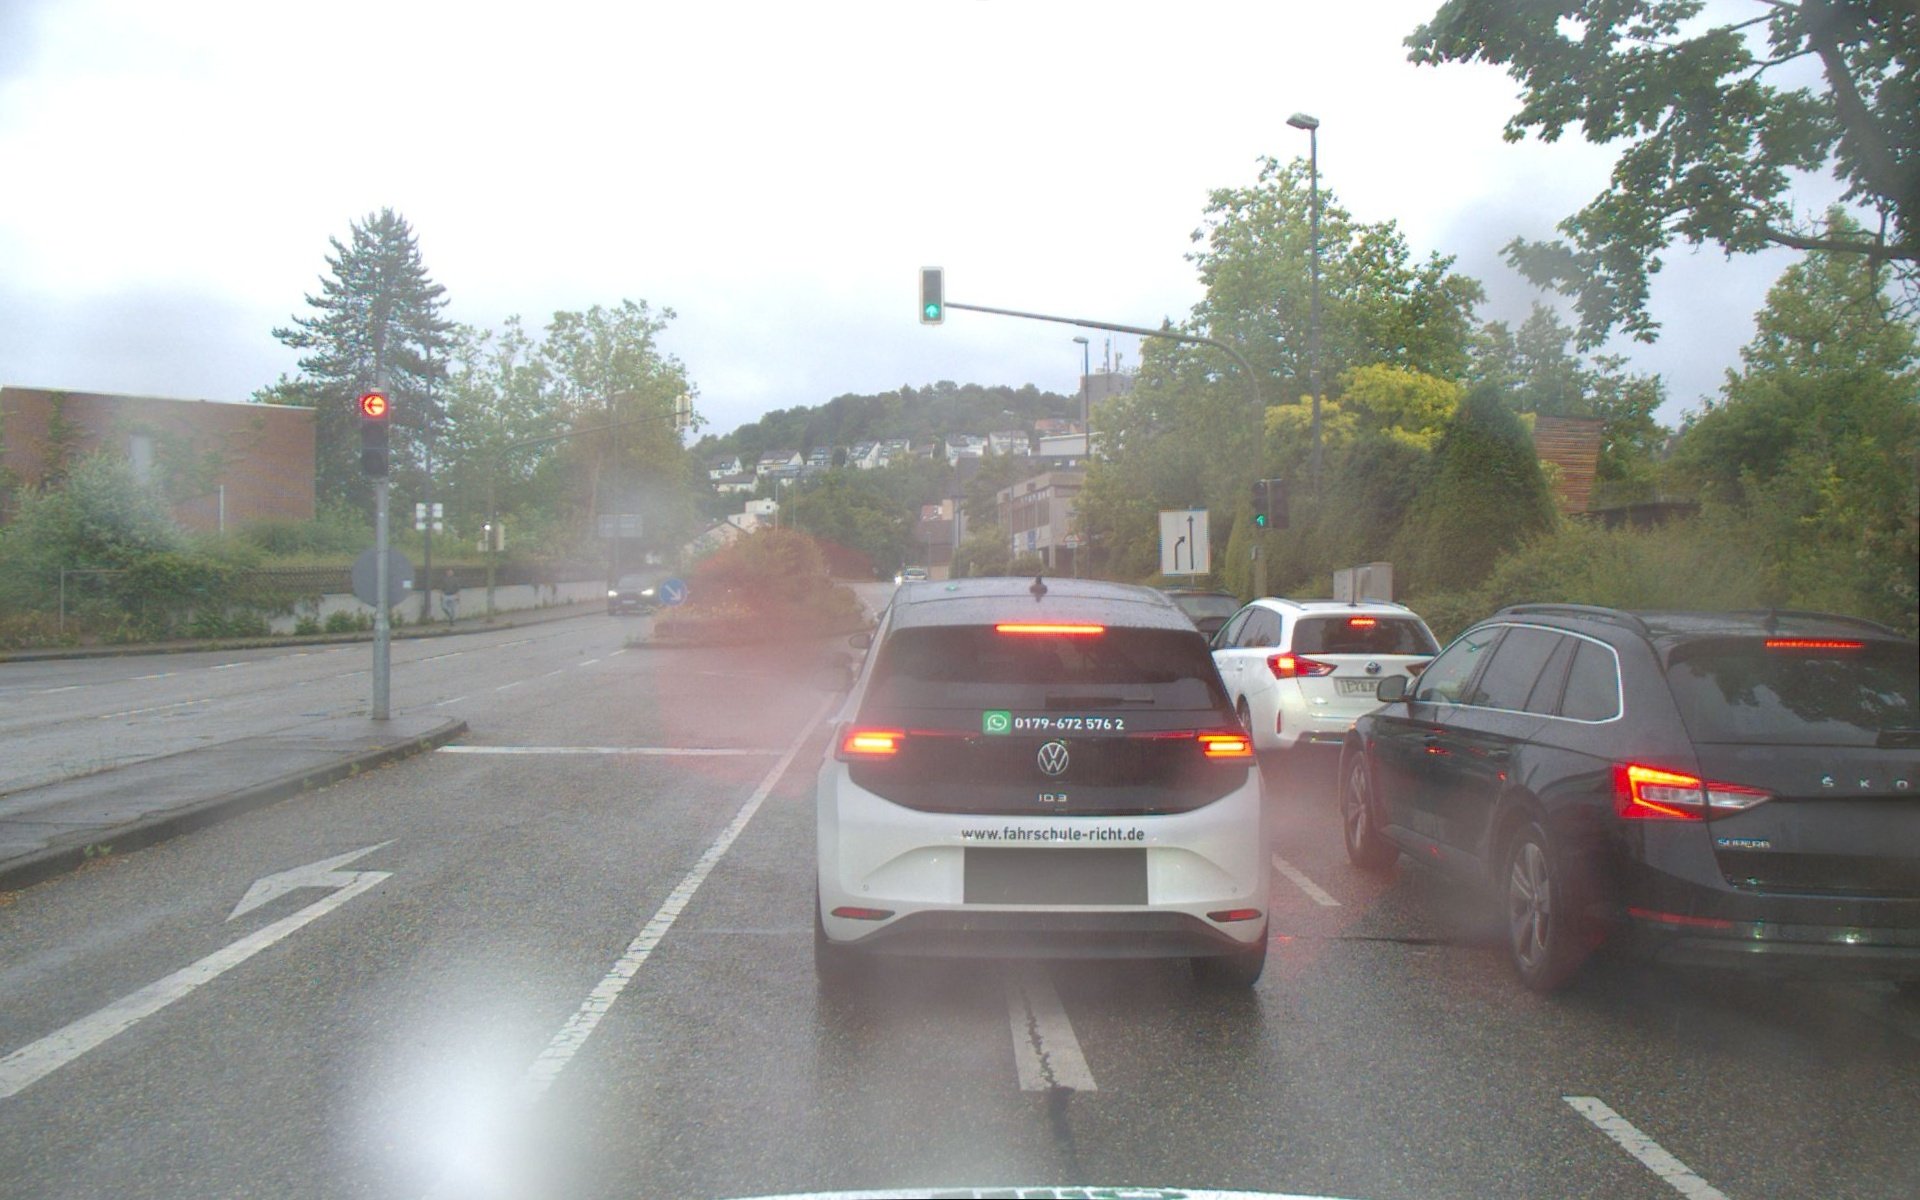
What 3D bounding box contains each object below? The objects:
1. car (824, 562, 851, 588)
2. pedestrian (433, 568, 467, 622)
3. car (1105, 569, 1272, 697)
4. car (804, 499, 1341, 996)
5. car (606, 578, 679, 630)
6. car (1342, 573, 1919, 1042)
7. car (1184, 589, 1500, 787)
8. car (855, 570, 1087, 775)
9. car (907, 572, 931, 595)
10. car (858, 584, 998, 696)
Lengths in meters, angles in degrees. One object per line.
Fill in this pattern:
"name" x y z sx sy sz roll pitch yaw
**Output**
"car" -10.390 -2.078 140.261 1.953 2.049 3.999 1 -1 -1
"pedestrian" -15.495 -0.153 50.241 0.744 1.595 0.825 -2 0 -2
"car" 3.120 0.425 23.304 1.739 1.609 3.999 1 0 -1
"car" 0.334 0.483 7.957 1.800 1.657 4.614 1 1 -1
"car" -12.035 0.128 62.922 1.953 1.836 3.999 -3 0 -1
"car" 3.136 0.661 7.524 1.800 1.492 4.350 1 1 1
"car" 3.273 0.680 15.005 1.800 1.492 4.116 1 1 -1
"car" 0.042 0.555 15.191 1.800 1.582 4.174 1 1 -1
"car" -2.798 -1.086 112.118 1.549 1.492 3.999 -1 0 -2
"car" -0.460 0.509 23.584 1.800 1.424 3.830 1 1 -1
